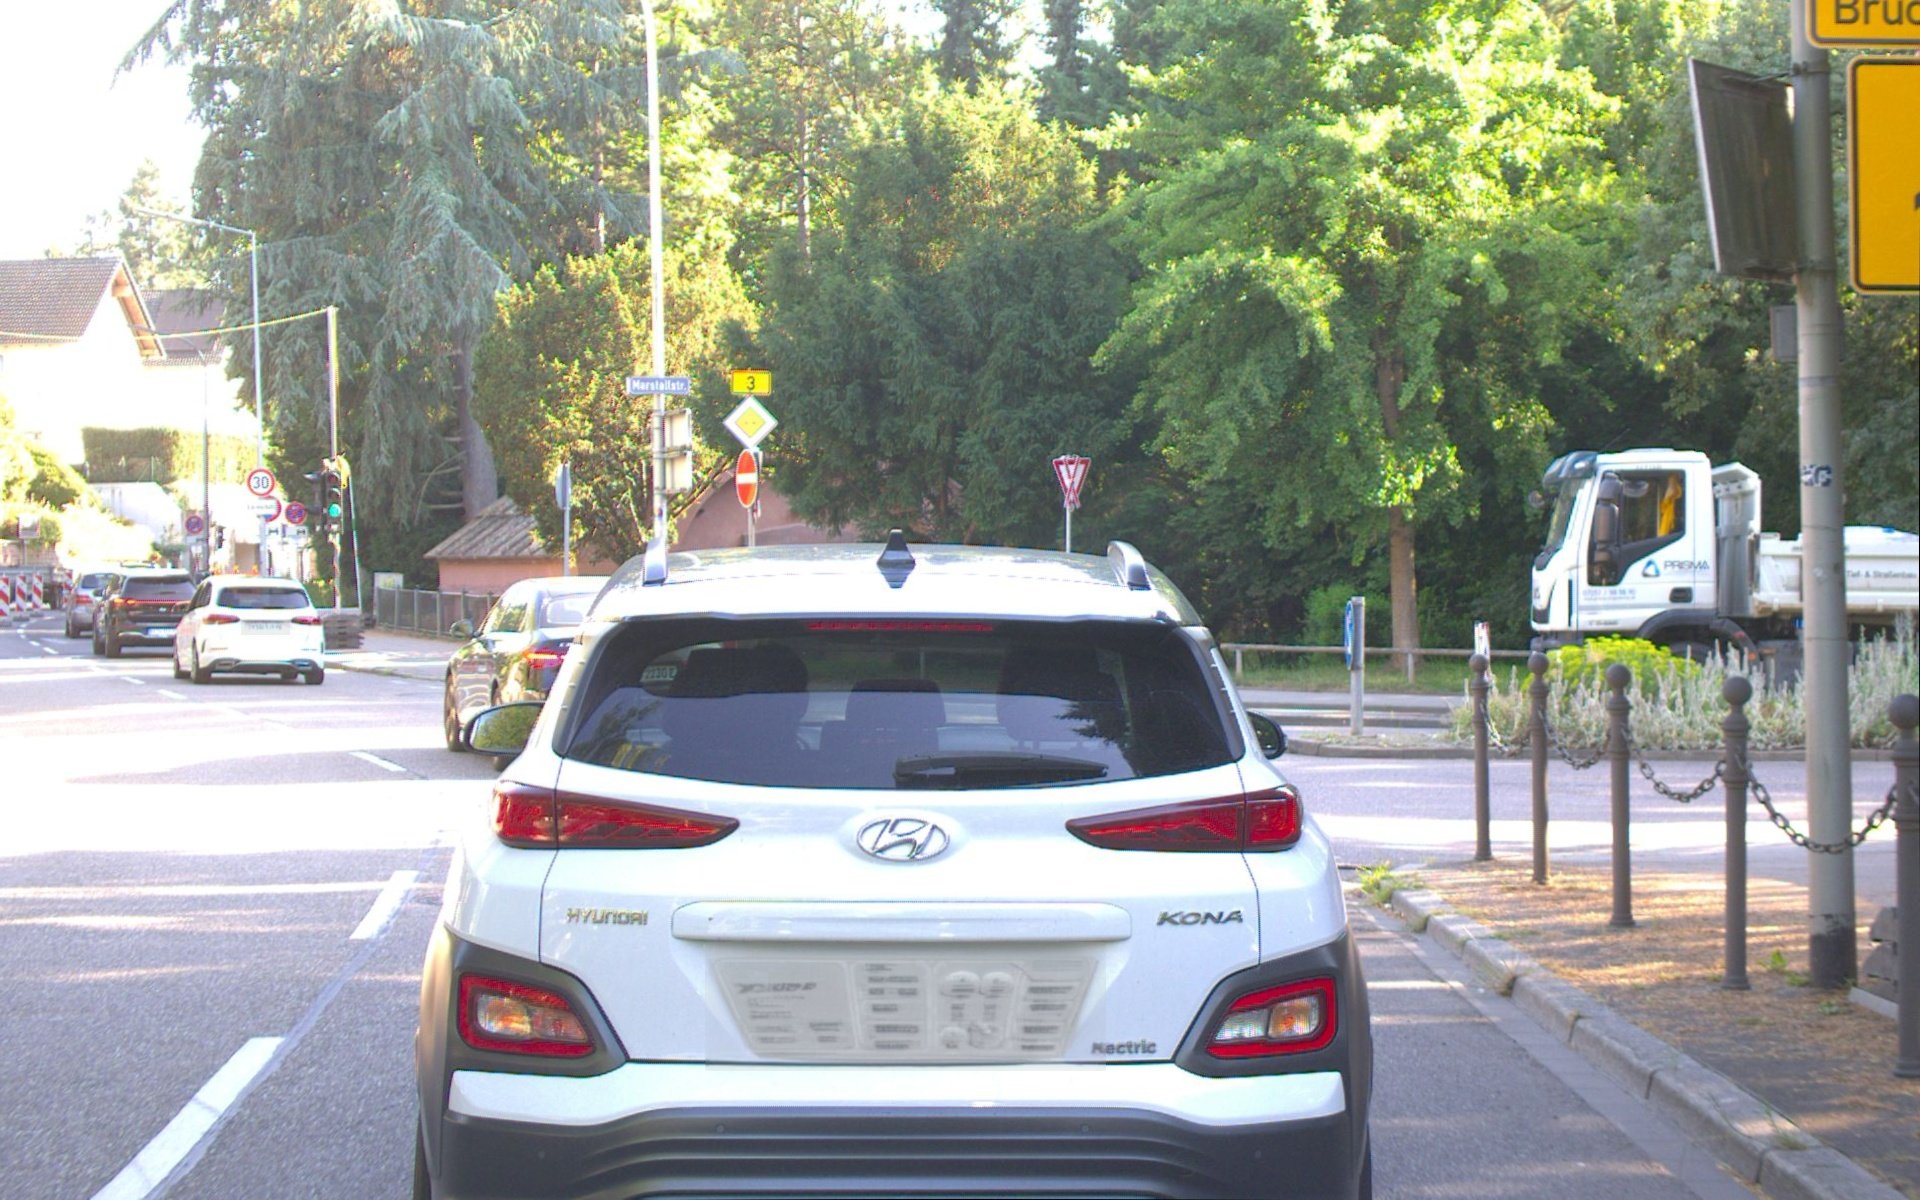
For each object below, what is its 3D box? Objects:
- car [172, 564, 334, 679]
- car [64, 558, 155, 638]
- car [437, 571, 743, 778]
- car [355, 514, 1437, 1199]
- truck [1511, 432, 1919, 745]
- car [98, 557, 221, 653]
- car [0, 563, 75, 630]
[{"bbox_3d":[-10.185,0.280,49.345,1.805,1.532,4.001,1,0,-18],"label":"car"},{"bbox_3d":[-19.375,-0.069,78.212,1.831,1.735,4.001,1,0,-16],"label":"car"},{"bbox_3d":[-2.957,0.520,26.710,1.707,1.429,4.366,1,0,-15],"label":"car"},{"bbox_3d":[-0.137,0.640,7.870,1.820,1.568,4.000,1,0,-1],"label":"car"},{"bbox_3d":[8.849,-0.088,33.685,6.588,2.885,2.433,1,0,5],"label":"truck"},{"bbox_3d":[-14.729,0.069,63.130,1.831,1.656,4.001,1,0,-18],"label":"car"},{"bbox_3d":[-23.732,-0.105,88.046,1.831,1.656,4.001,1,0,-17],"label":"car"}]
